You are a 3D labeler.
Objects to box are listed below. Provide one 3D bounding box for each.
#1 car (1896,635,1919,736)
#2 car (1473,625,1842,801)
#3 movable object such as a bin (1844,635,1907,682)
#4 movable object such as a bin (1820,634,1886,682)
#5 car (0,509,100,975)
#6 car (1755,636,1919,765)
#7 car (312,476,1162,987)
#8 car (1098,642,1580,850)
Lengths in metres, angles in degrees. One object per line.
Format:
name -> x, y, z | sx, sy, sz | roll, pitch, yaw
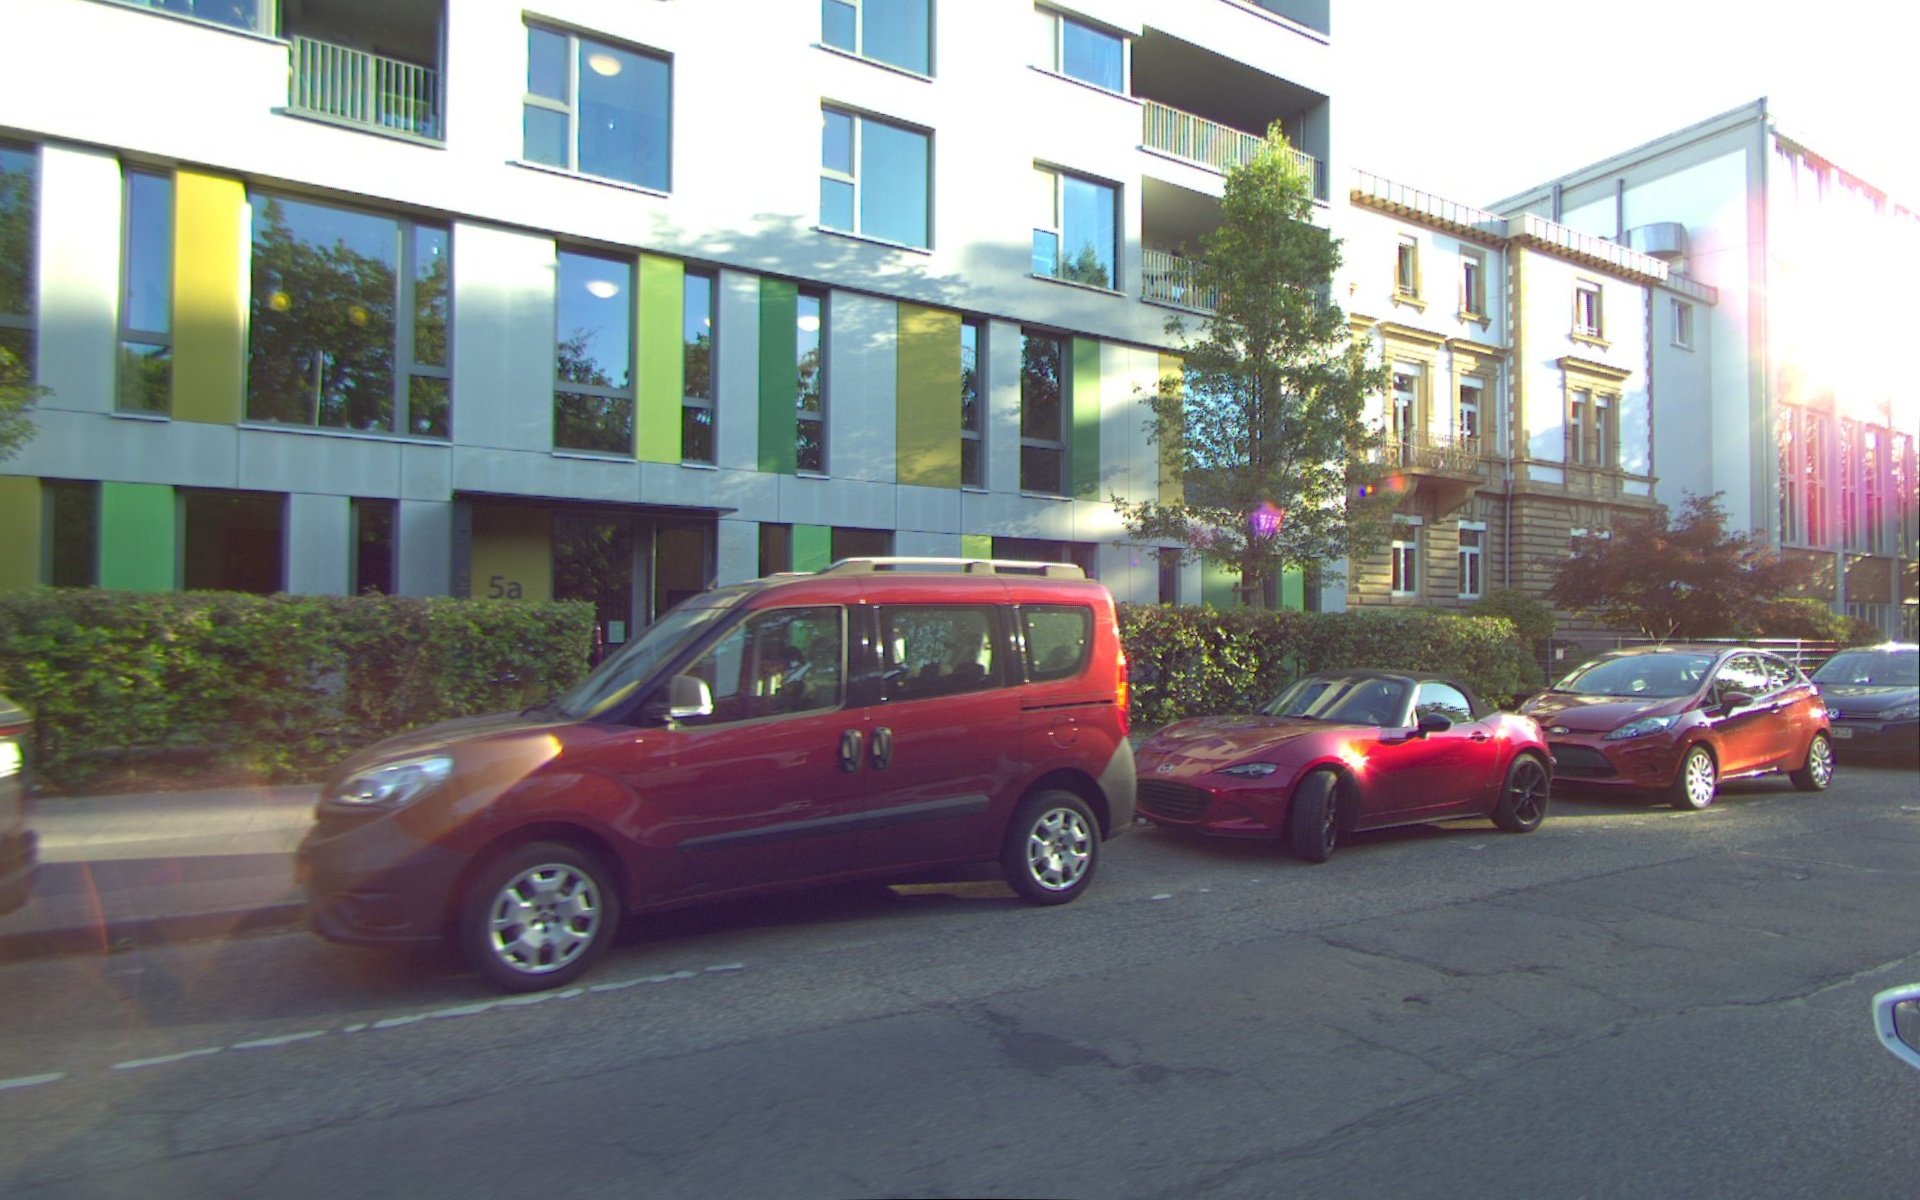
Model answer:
car -> 16.430, 1.317, 15.603 | 3.739, 1.527, 1.593 | 1, -3, -27
car -> 7.080, 1.038, 10.131 | 3.817, 1.474, 1.591 | 2, -4, -30
movable object such as a bin -> 29.605, 1.879, 32.493 | 1.354, 1.449, 1.095 | 2, -1, -26
movable object such as a bin -> 28.323, 1.829, 31.850 | 1.466, 1.449, 1.095 | 2, -1, -26
car -> -5.590, 0.496, 2.937 | 4.365, 1.698, 1.734 | 1, -3, -30
car -> 12.321, 1.228, 13.191 | 4.007, 1.474, 1.591 | 1, -3, -30
car -> -1.061, 0.569, 5.632 | 4.189, 1.914, 1.799 | 1, -3, -30
car -> 3.028, 0.985, 7.889 | 3.688, 1.297, 1.549 | 1, -3, -29
